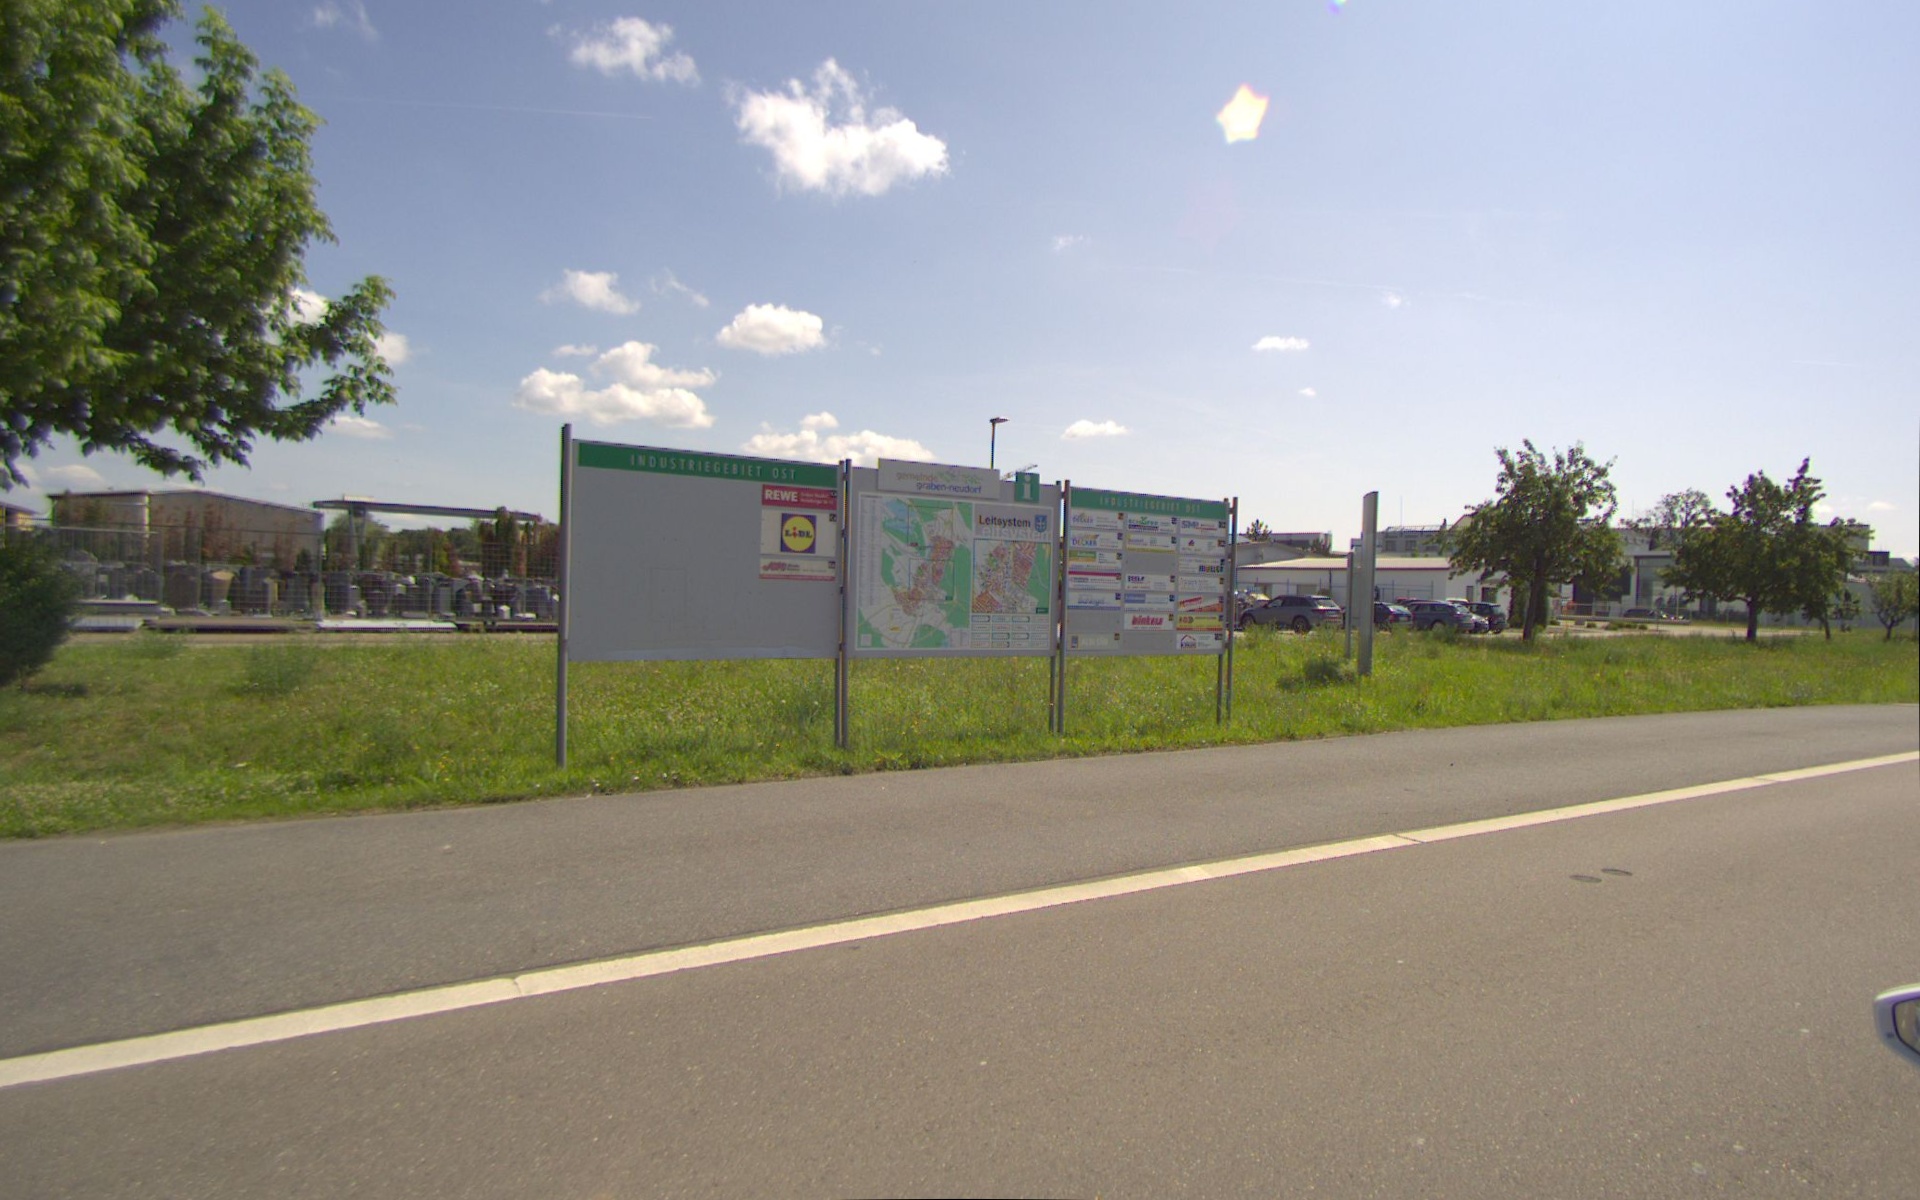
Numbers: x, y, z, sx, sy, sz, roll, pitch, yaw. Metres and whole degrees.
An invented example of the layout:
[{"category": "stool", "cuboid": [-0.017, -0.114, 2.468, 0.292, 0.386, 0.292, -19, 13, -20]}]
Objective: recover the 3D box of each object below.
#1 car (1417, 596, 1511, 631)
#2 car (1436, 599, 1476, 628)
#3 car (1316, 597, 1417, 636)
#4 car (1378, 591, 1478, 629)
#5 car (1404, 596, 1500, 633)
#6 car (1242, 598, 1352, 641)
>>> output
[{"category": "car", "cuboid": [26.458, 0.678, 52.842, 1.981, 1.662, 3.959, 1, 2, -36]}, {"category": "car", "cuboid": [30.581, 0.783, 62.014, 1.962, 1.662, 4.167, 2, 1, 24]}, {"category": "car", "cuboid": [18.417, 0.734, 45.684, 1.650, 1.576, 3.959, 1, 2, -36]}, {"category": "car", "cuboid": [22.739, 0.454, 48.917, 1.981, 1.662, 3.959, 1, 2, -36]}, {"category": "car", "cuboid": [25.017, 0.734, 51.170, 1.840, 1.662, 3.959, 1, 2, -36]}, {"category": "car", "cuboid": [14.184, 0.796, 42.435, 1.981, 1.548, 3.959, 1, 2, -36]}]
